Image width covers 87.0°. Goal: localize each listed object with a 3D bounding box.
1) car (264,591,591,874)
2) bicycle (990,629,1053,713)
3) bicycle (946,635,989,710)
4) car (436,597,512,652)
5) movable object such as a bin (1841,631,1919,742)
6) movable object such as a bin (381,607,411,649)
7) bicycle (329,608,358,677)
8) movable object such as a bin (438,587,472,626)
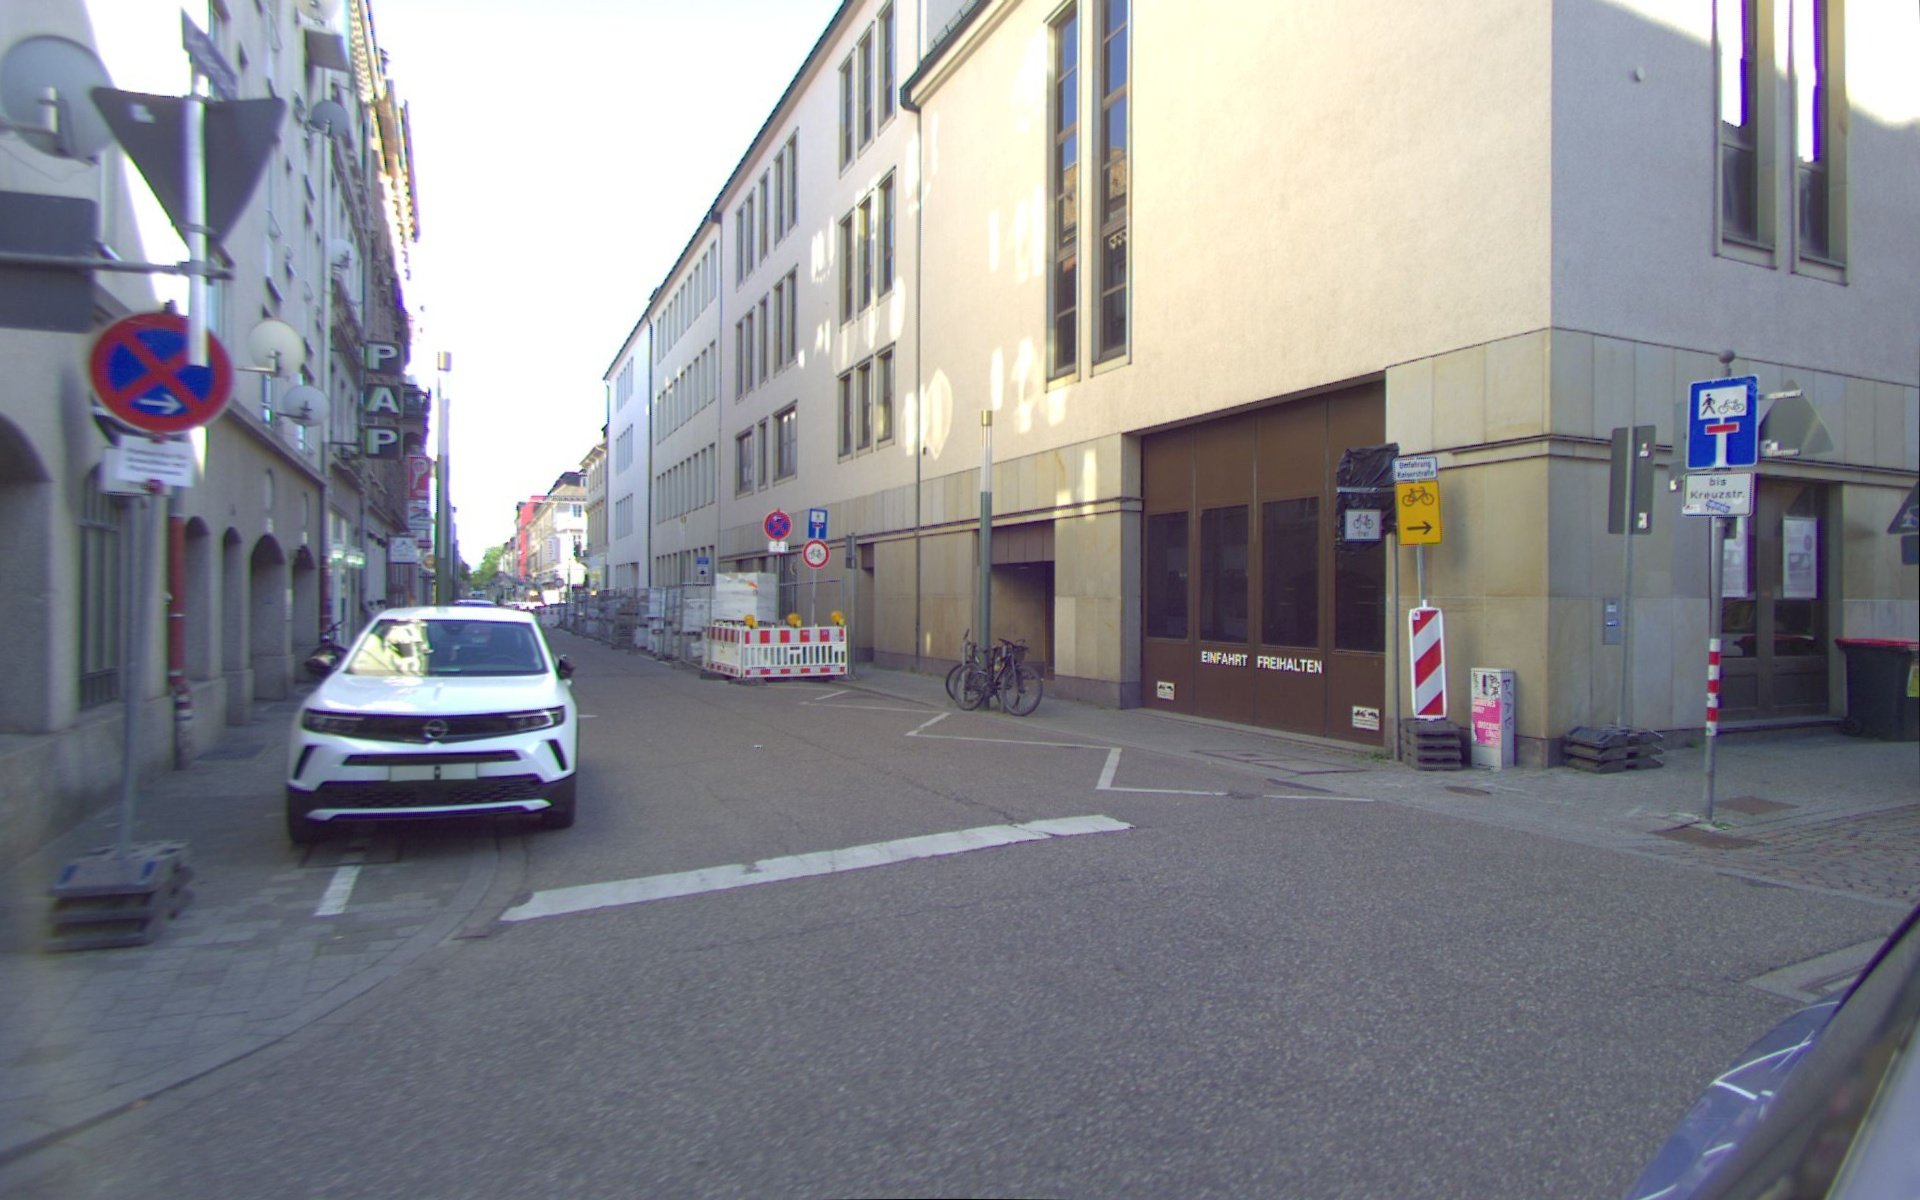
[{"bbox_3d":[-3.934,0.727,7.922,1.730,1.587,4.090,0,1,-23],"label":"car"},{"bbox_3d":[0.856,0.980,14.469,0.477,1.087,1.655,0,0,-12],"label":"bicycle"},{"bbox_3d":[0.093,1.054,15.135,0.461,1.020,1.424,0,0,-7],"label":"bicycle"},{"bbox_3d":[-14.362,0.664,30.073,1.877,1.497,3.810,0,1,-23],"label":"car"},{"bbox_3d":[10.051,0.891,10.784,0.910,1.100,0.689,0,0,-25],"label":"movable object such as a bin"},{"bbox_3d":[-15.368,0.767,27.588,0.676,1.088,0.451,3,0,-28],"label":"movable object such as a bin"},{"bbox_3d":[-11.057,0.741,18.167,0.423,1.158,1.592,0,0,-31],"label":"bicycle"},{"bbox_3d":[-19.036,0.235,38.168,1.031,1.408,2.004,0,0,-24],"label":"movable object such as a bin"}]
